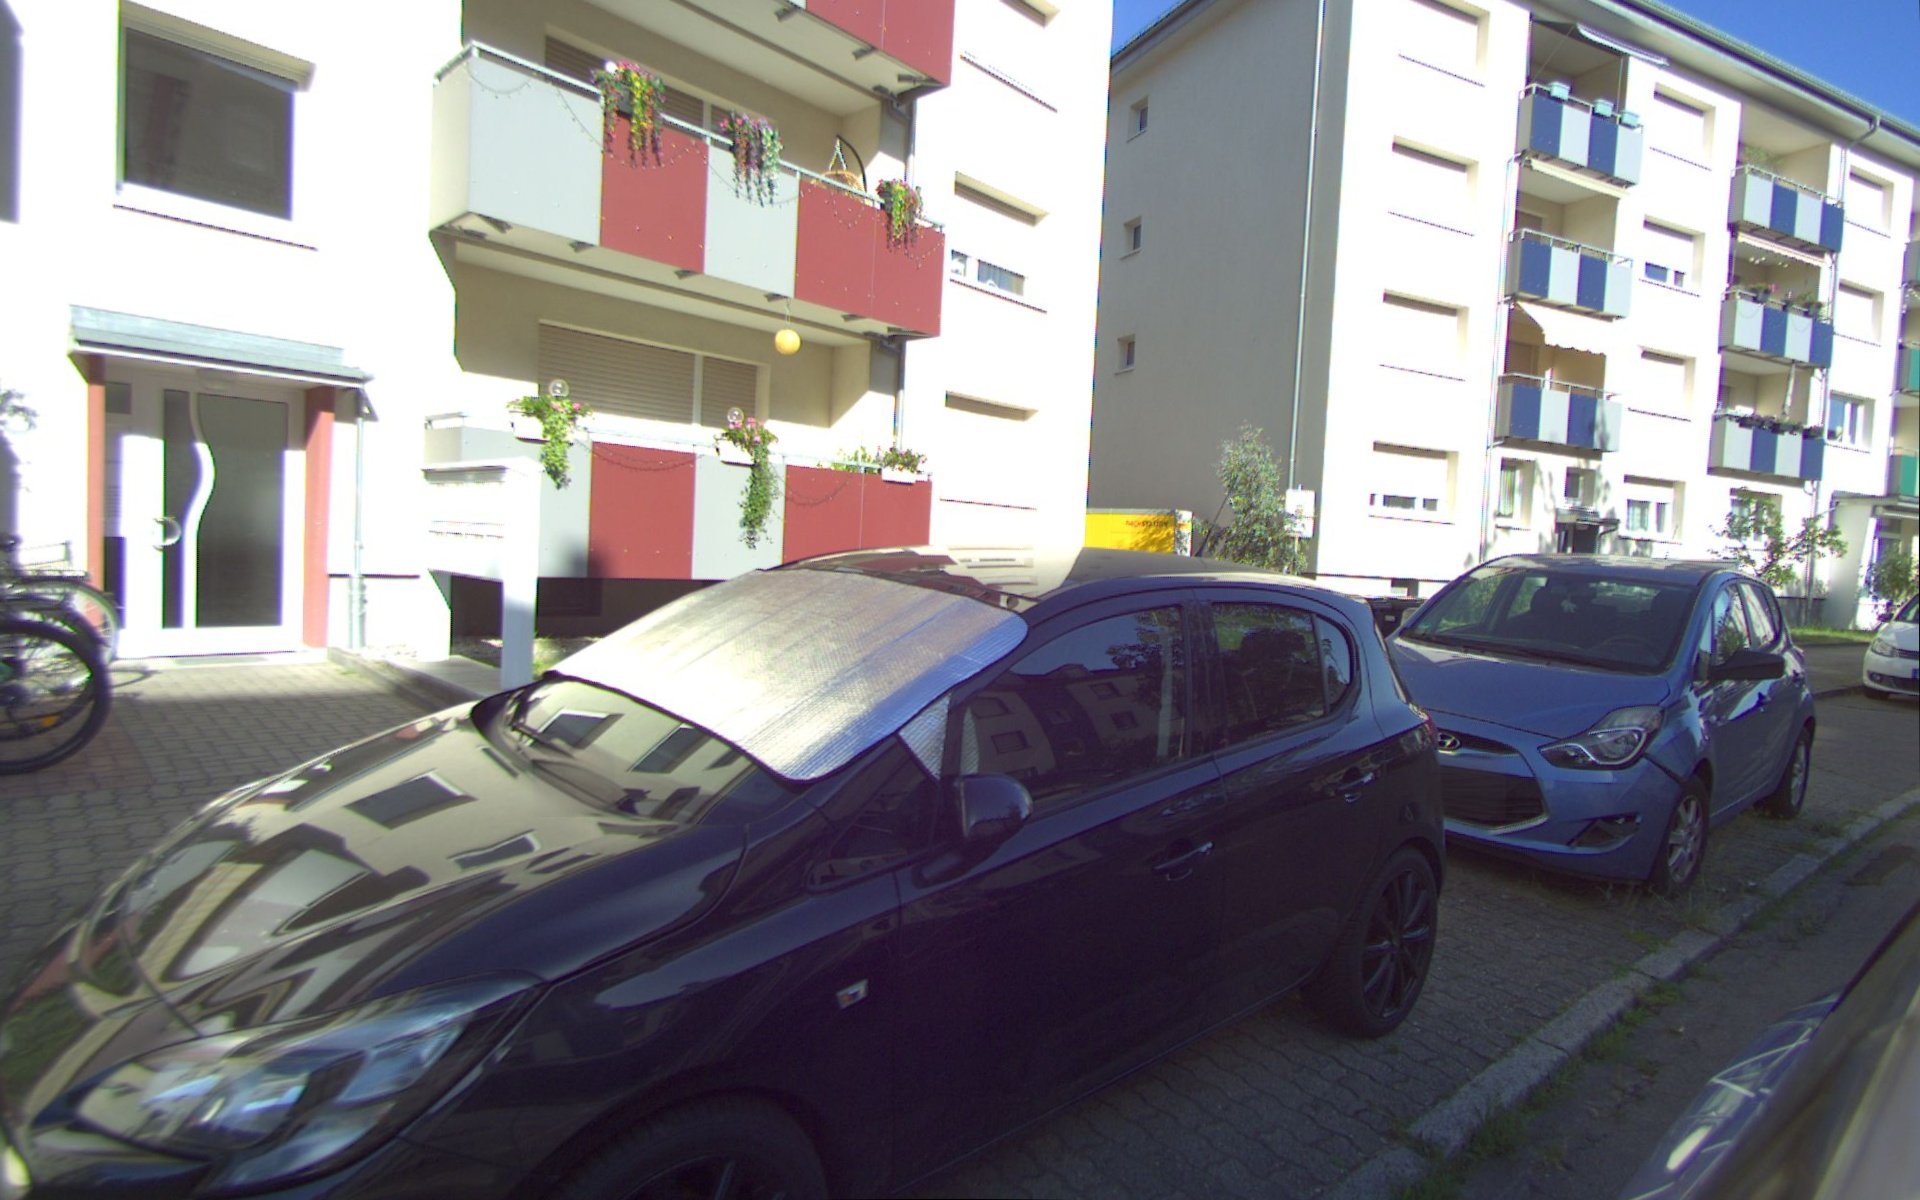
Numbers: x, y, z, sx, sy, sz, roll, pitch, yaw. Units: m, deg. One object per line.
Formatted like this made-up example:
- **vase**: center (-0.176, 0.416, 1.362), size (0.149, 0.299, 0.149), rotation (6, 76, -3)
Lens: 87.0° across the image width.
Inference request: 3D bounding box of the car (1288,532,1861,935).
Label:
- **car**: center (3.922, 0.466, 6.201), size (3.971, 1.655, 1.770), rotation (-2, 6, -40)

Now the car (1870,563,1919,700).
- **car**: center (14.029, 0.443, 13.501), size (4.306, 1.675, 1.701), rotation (0, 6, -34)

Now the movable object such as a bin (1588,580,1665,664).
- **movable object such as a bin**: center (9.357, 0.299, 14.211), size (0.669, 1.108, 0.587), rotation (0, 5, -29)

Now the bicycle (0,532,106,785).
- **bicycle**: center (-4.561, 0.246, 3.981), size (1.811, 1.031, 0.498), rotation (-1, 6, -44)

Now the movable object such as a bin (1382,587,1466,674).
- **movable object such as a bin**: center (5.194, 0.324, 11.336), size (0.629, 0.898, 0.585), rotation (-1, 5, -40)

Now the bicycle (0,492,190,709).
- **bicycle**: center (-5.339, -0.010, 5.561), size (1.733, 1.164, 0.408), rotation (-1, 6, -44)

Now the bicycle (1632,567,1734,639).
- **bicycle**: center (13.033, 0.055, 18.236), size (1.724, 1.217, 0.518), rotation (1, 4, -20)

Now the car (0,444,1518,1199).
- **car**: center (-0.174, 0.492, 2.866), size (3.817, 1.526, 1.740), rotation (-1, 7, -41)

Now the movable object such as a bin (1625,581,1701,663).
- **movable object such as a bin**: center (10.018, 0.299, 14.430), size (0.628, 1.068, 0.587), rotation (-2, 7, -29)

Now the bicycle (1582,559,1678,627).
- **bicycle**: center (12.629, -0.131, 19.073), size (1.795, 1.217, 0.518), rotation (1, 4, -24)

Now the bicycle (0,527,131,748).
- **bicycle**: center (-5.004, 0.157, 4.597), size (1.864, 0.989, 0.618), rotation (1, 6, -43)
